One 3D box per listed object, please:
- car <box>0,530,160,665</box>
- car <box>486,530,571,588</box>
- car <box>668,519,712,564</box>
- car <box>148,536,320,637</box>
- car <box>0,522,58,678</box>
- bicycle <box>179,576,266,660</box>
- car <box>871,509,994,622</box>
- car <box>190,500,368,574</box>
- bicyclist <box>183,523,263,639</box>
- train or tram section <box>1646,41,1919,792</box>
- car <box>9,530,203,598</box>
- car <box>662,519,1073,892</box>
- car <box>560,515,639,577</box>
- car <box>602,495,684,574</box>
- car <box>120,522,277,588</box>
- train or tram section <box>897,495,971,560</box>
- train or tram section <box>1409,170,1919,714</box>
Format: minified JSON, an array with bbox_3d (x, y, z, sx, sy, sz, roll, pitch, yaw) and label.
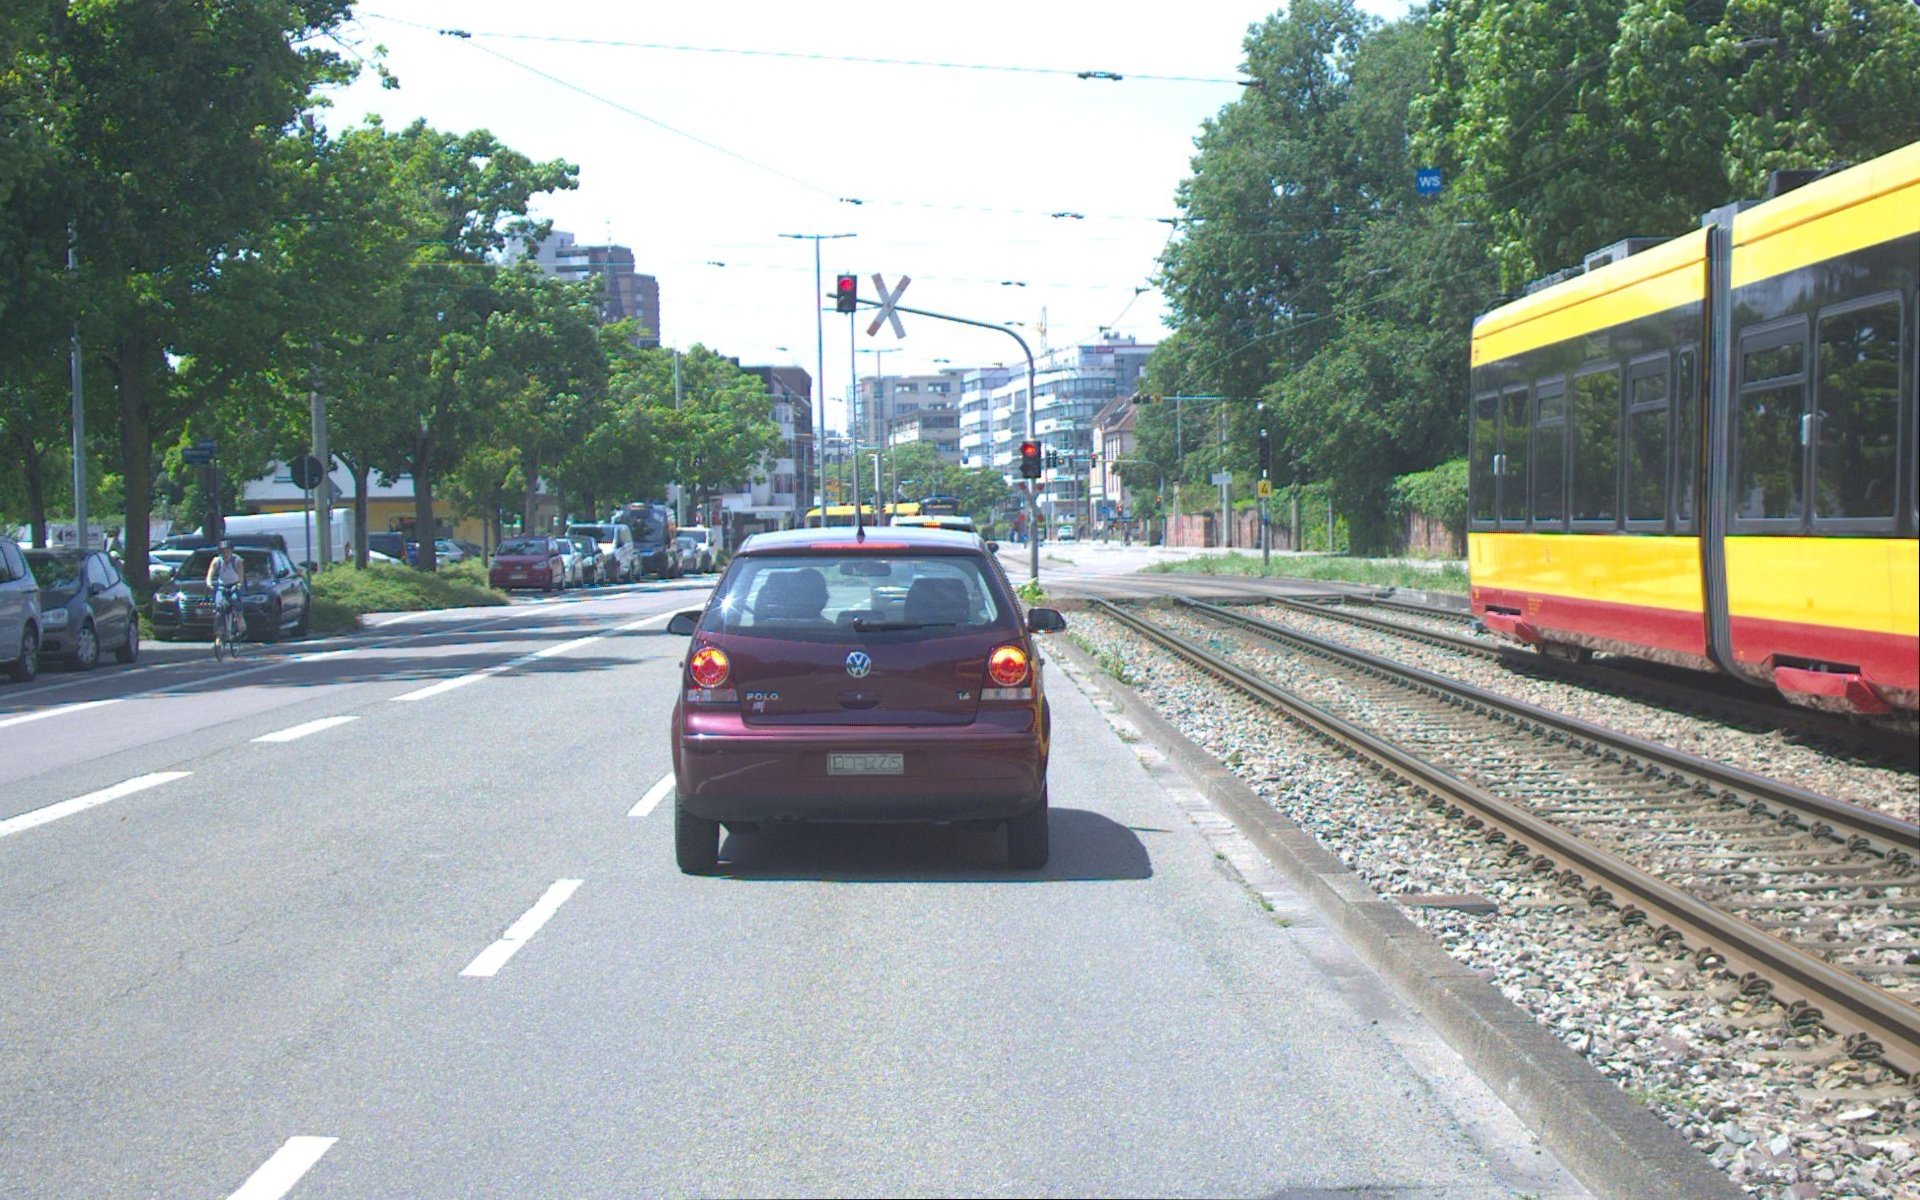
[{"bbox_3d":[-11.277,-0.068,42.577,1.818,1.559,4.181,0,1,-1],"label":"car"},{"bbox_3d":[-11.493,-1.097,91.770,1.663,1.491,4.000,1,1,1],"label":"car"},{"bbox_3d":[-11.394,-2.443,144.874,1.774,1.822,4.001,1,1,-6],"label":"car"},{"bbox_3d":[-11.355,-0.244,54.025,1.818,1.471,4.449,0,1,-1],"label":"car"},{"bbox_3d":[-11.259,0.014,37.015,1.872,1.659,4.781,-1,2,-1],"label":"car"},{"bbox_3d":[-9.482,0.222,44.260,0.701,0.948,2.243,-4,2,-3],"label":"bicycle"},{"bbox_3d":[-0.451,-0.549,52.015,1.777,1.641,4.001,0,1,-1],"label":"car"},{"bbox_3d":[-21.423,-1.966,108.348,5.097,2.237,2.378,1,0,1],"label":"car"},{"bbox_3d":[-9.487,-0.254,44.278,0.735,1.426,1.125,-4,1,-4],"label":"bicyclist"},{"bbox_3d":[6.362,-0.949,17.754,3.028,3.785,13.090,-1,1,0],"label":"train or tram section"},{"bbox_3d":[-21.614,-0.924,87.123,4.344,1.579,1.912,-1,1,5],"label":"car"},{"bbox_3d":[-0.423,0.385,16.062,1.672,1.516,4.001,0,1,-1],"label":"car"},{"bbox_3d":[-11.354,-1.694,108.553,1.783,1.875,4.785,1,1,2],"label":"car"},{"bbox_3d":[-11.177,-2.298,121.589,2.361,2.683,5.307,1,0,0],"label":"car"},{"bbox_3d":[-21.655,-1.282,97.865,3.987,1.740,1.998,-2,1,-1],"label":"car"},{"bbox_3d":[-1.577,-4.252,200.107,2.740,3.597,12.873,1,1,-7],"label":"train or tram section"},{"bbox_3d":[6.350,-1.271,30.545,3.028,3.785,12.761,-1,1,0],"label":"train or tram section"}]
